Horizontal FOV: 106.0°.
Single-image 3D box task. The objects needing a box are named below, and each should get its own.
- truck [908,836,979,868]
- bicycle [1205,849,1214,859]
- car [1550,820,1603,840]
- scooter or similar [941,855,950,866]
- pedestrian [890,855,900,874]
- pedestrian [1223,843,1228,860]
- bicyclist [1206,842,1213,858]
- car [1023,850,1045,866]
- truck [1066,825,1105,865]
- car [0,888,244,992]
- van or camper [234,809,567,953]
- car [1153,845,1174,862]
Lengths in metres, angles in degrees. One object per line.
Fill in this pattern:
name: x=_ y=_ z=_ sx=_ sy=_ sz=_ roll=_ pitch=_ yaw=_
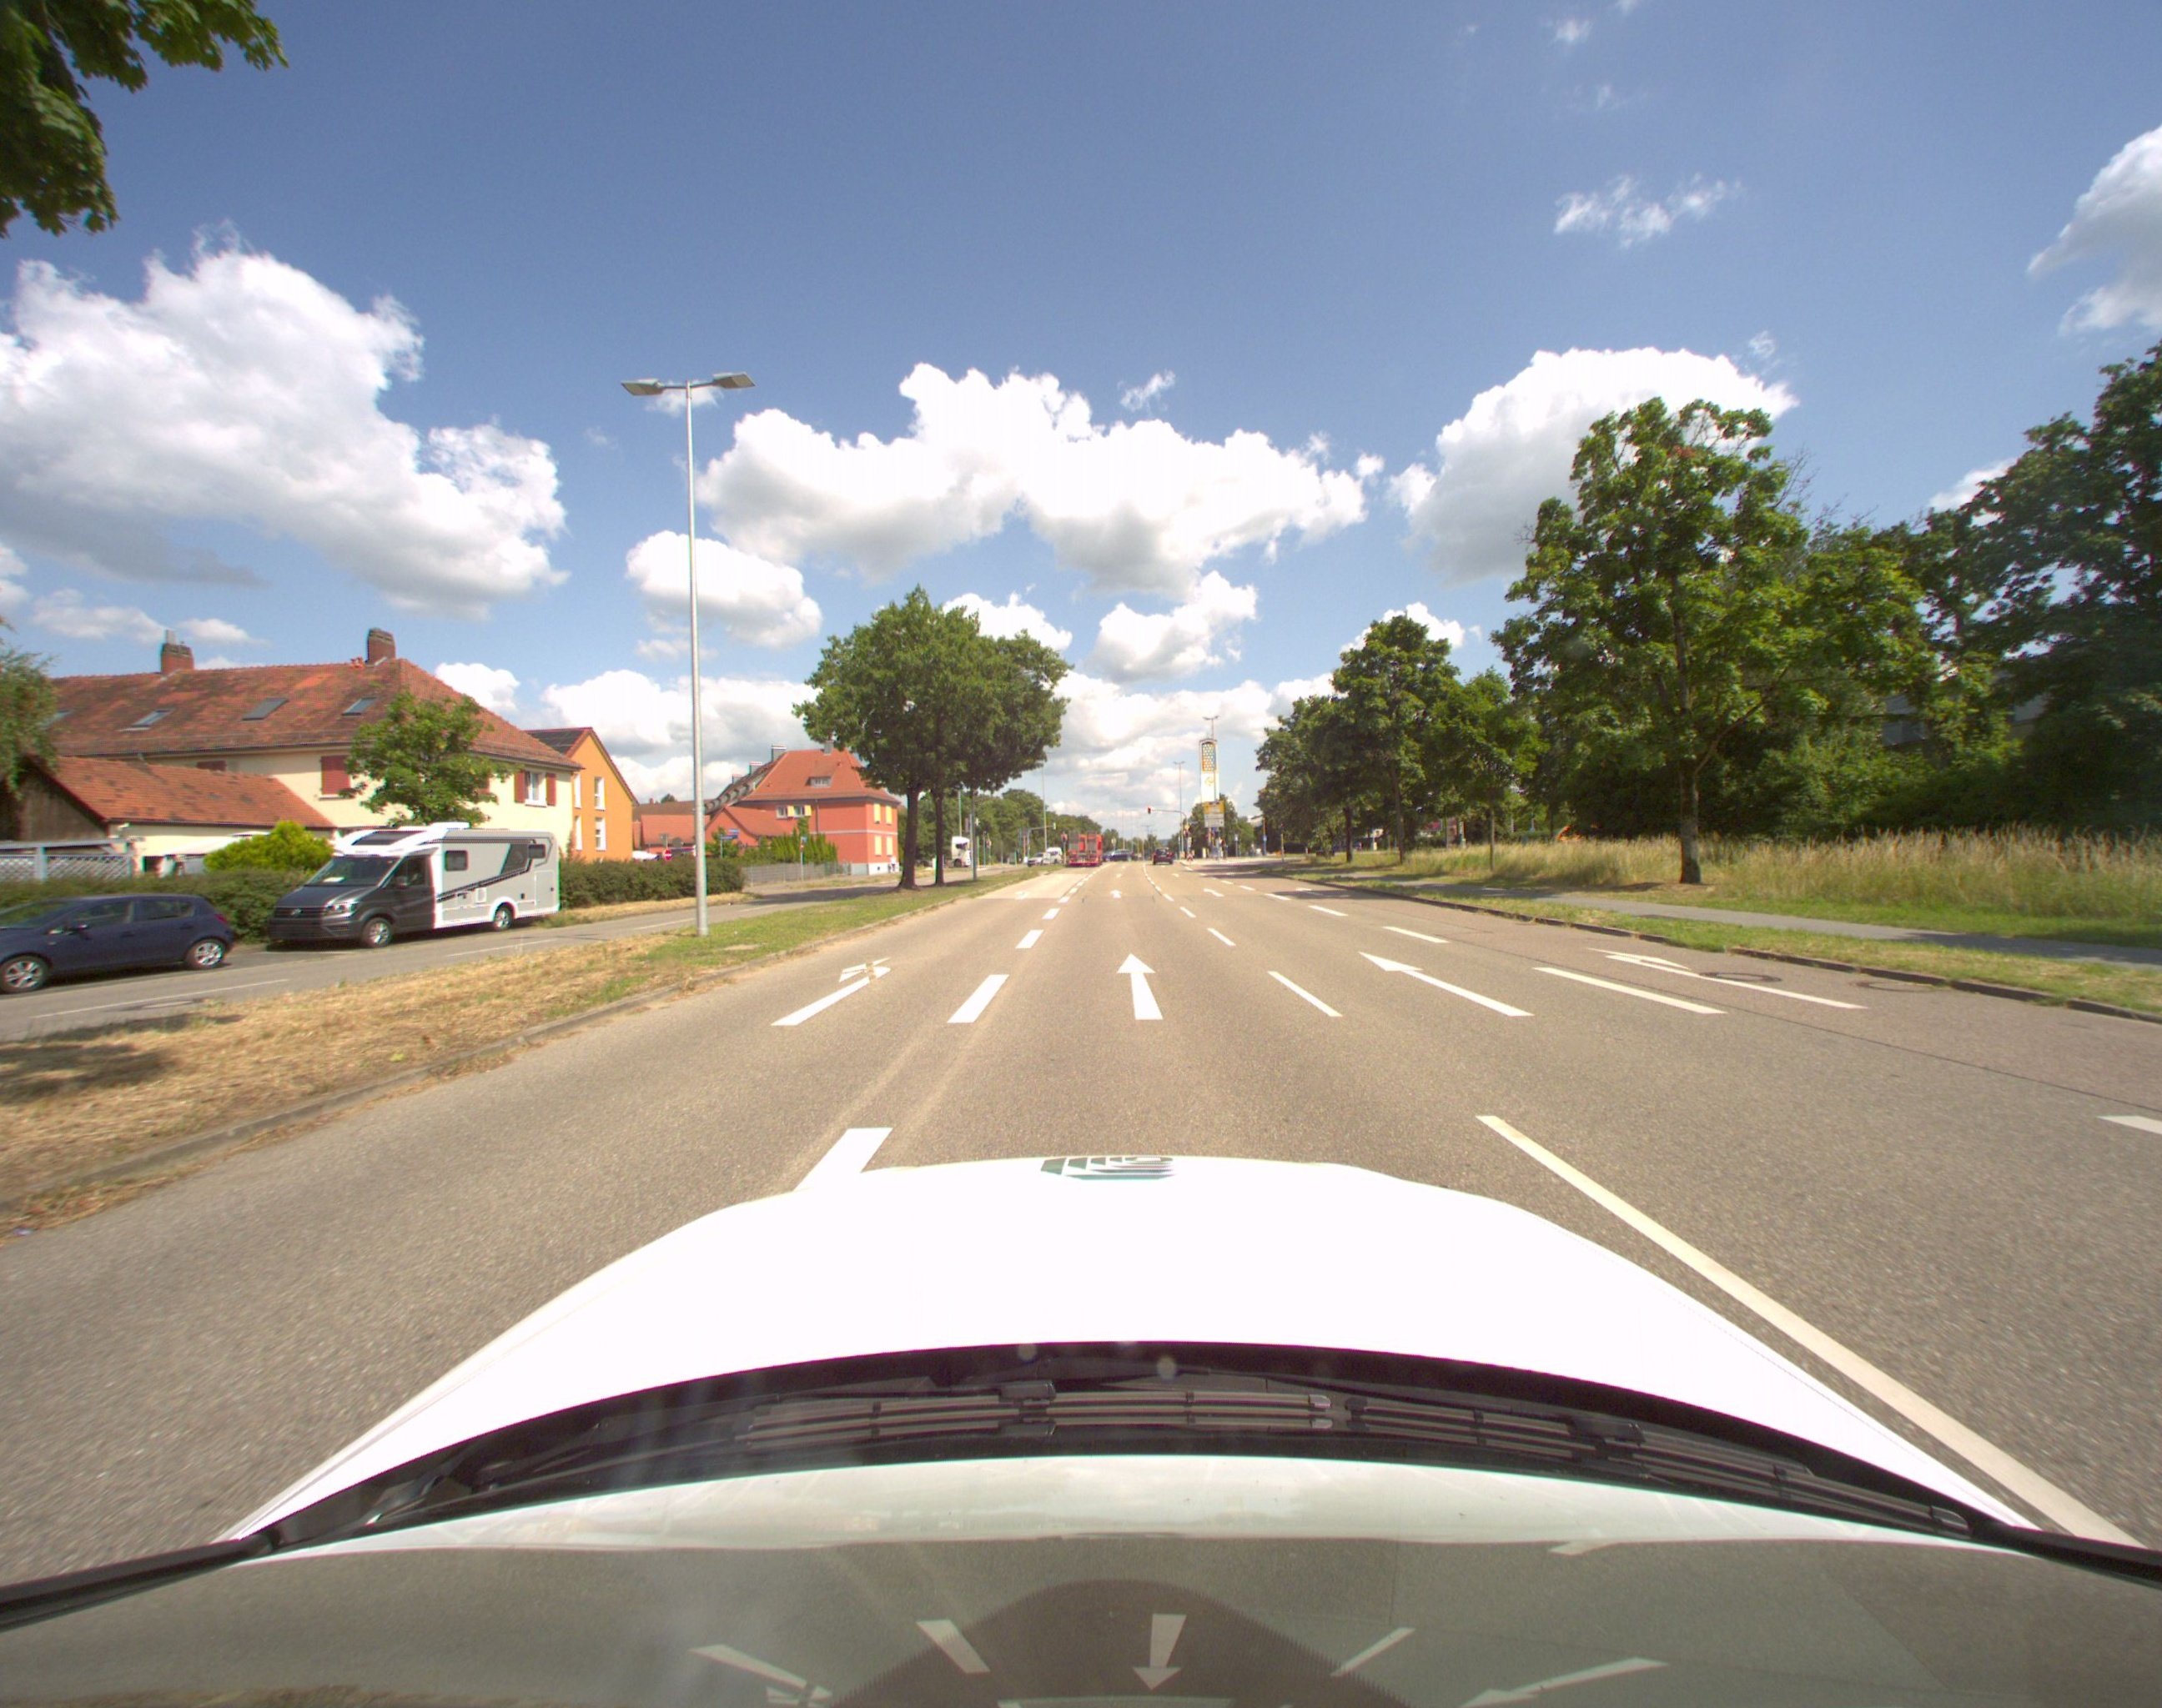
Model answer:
truck: x=-17.574 y=-0.206 z=104.372 sx=8.539 sy=3.971 sz=2.983 roll=0 pitch=-1 yaw=19
bicycle: x=13.890 y=-0.022 z=87.955 sx=0.643 sy=1.107 sz=1.937 roll=0 pitch=-1 yaw=19
car: x=57.533 y=-2.794 z=94.634 sx=4.806 sy=2.226 sz=2.221 roll=0 pitch=-1 yaw=16
scooter or similar: x=-14.669 y=0.710 z=87.939 sx=0.587 sy=1.164 sz=1.763 roll=0 pitch=-1 yaw=3
pedestrian: x=-16.096 y=0.900 z=70.461 sx=0.693 sy=1.583 sz=0.852 roll=0 pitch=-1 yaw=3
pedestrian: x=15.375 y=-0.231 z=86.730 sx=0.461 sy=1.779 sz=0.484 roll=0 pitch=-1 yaw=14
bicyclist: x=13.827 y=-0.435 z=87.775 sx=0.643 sy=1.661 sz=0.653 roll=0 pitch=-1 yaw=19
car: x=-5.123 y=0.434 z=89.071 sx=1.725 sy=1.508 sz=4.656 roll=-5 pitch=-1 yaw=3
truck: x=0.563 y=-0.727 z=75.650 sx=3.058 sy=3.414 sz=11.077 roll=0 pitch=-1 yaw=3
car: x=-17.343 y=1.386 z=13.999 sx=1.629 sy=1.485 sz=3.996 roll=0 pitch=-1 yaw=3
van or camper: x=-17.062 y=0.540 z=21.308 sx=2.249 sy=3.112 sz=7.327 roll=0 pitch=1 yaw=3
car: x=7.632 y=-0.021 z=75.848 sx=1.792 sy=1.552 sz=4.003 roll=0 pitch=-1 yaw=3
